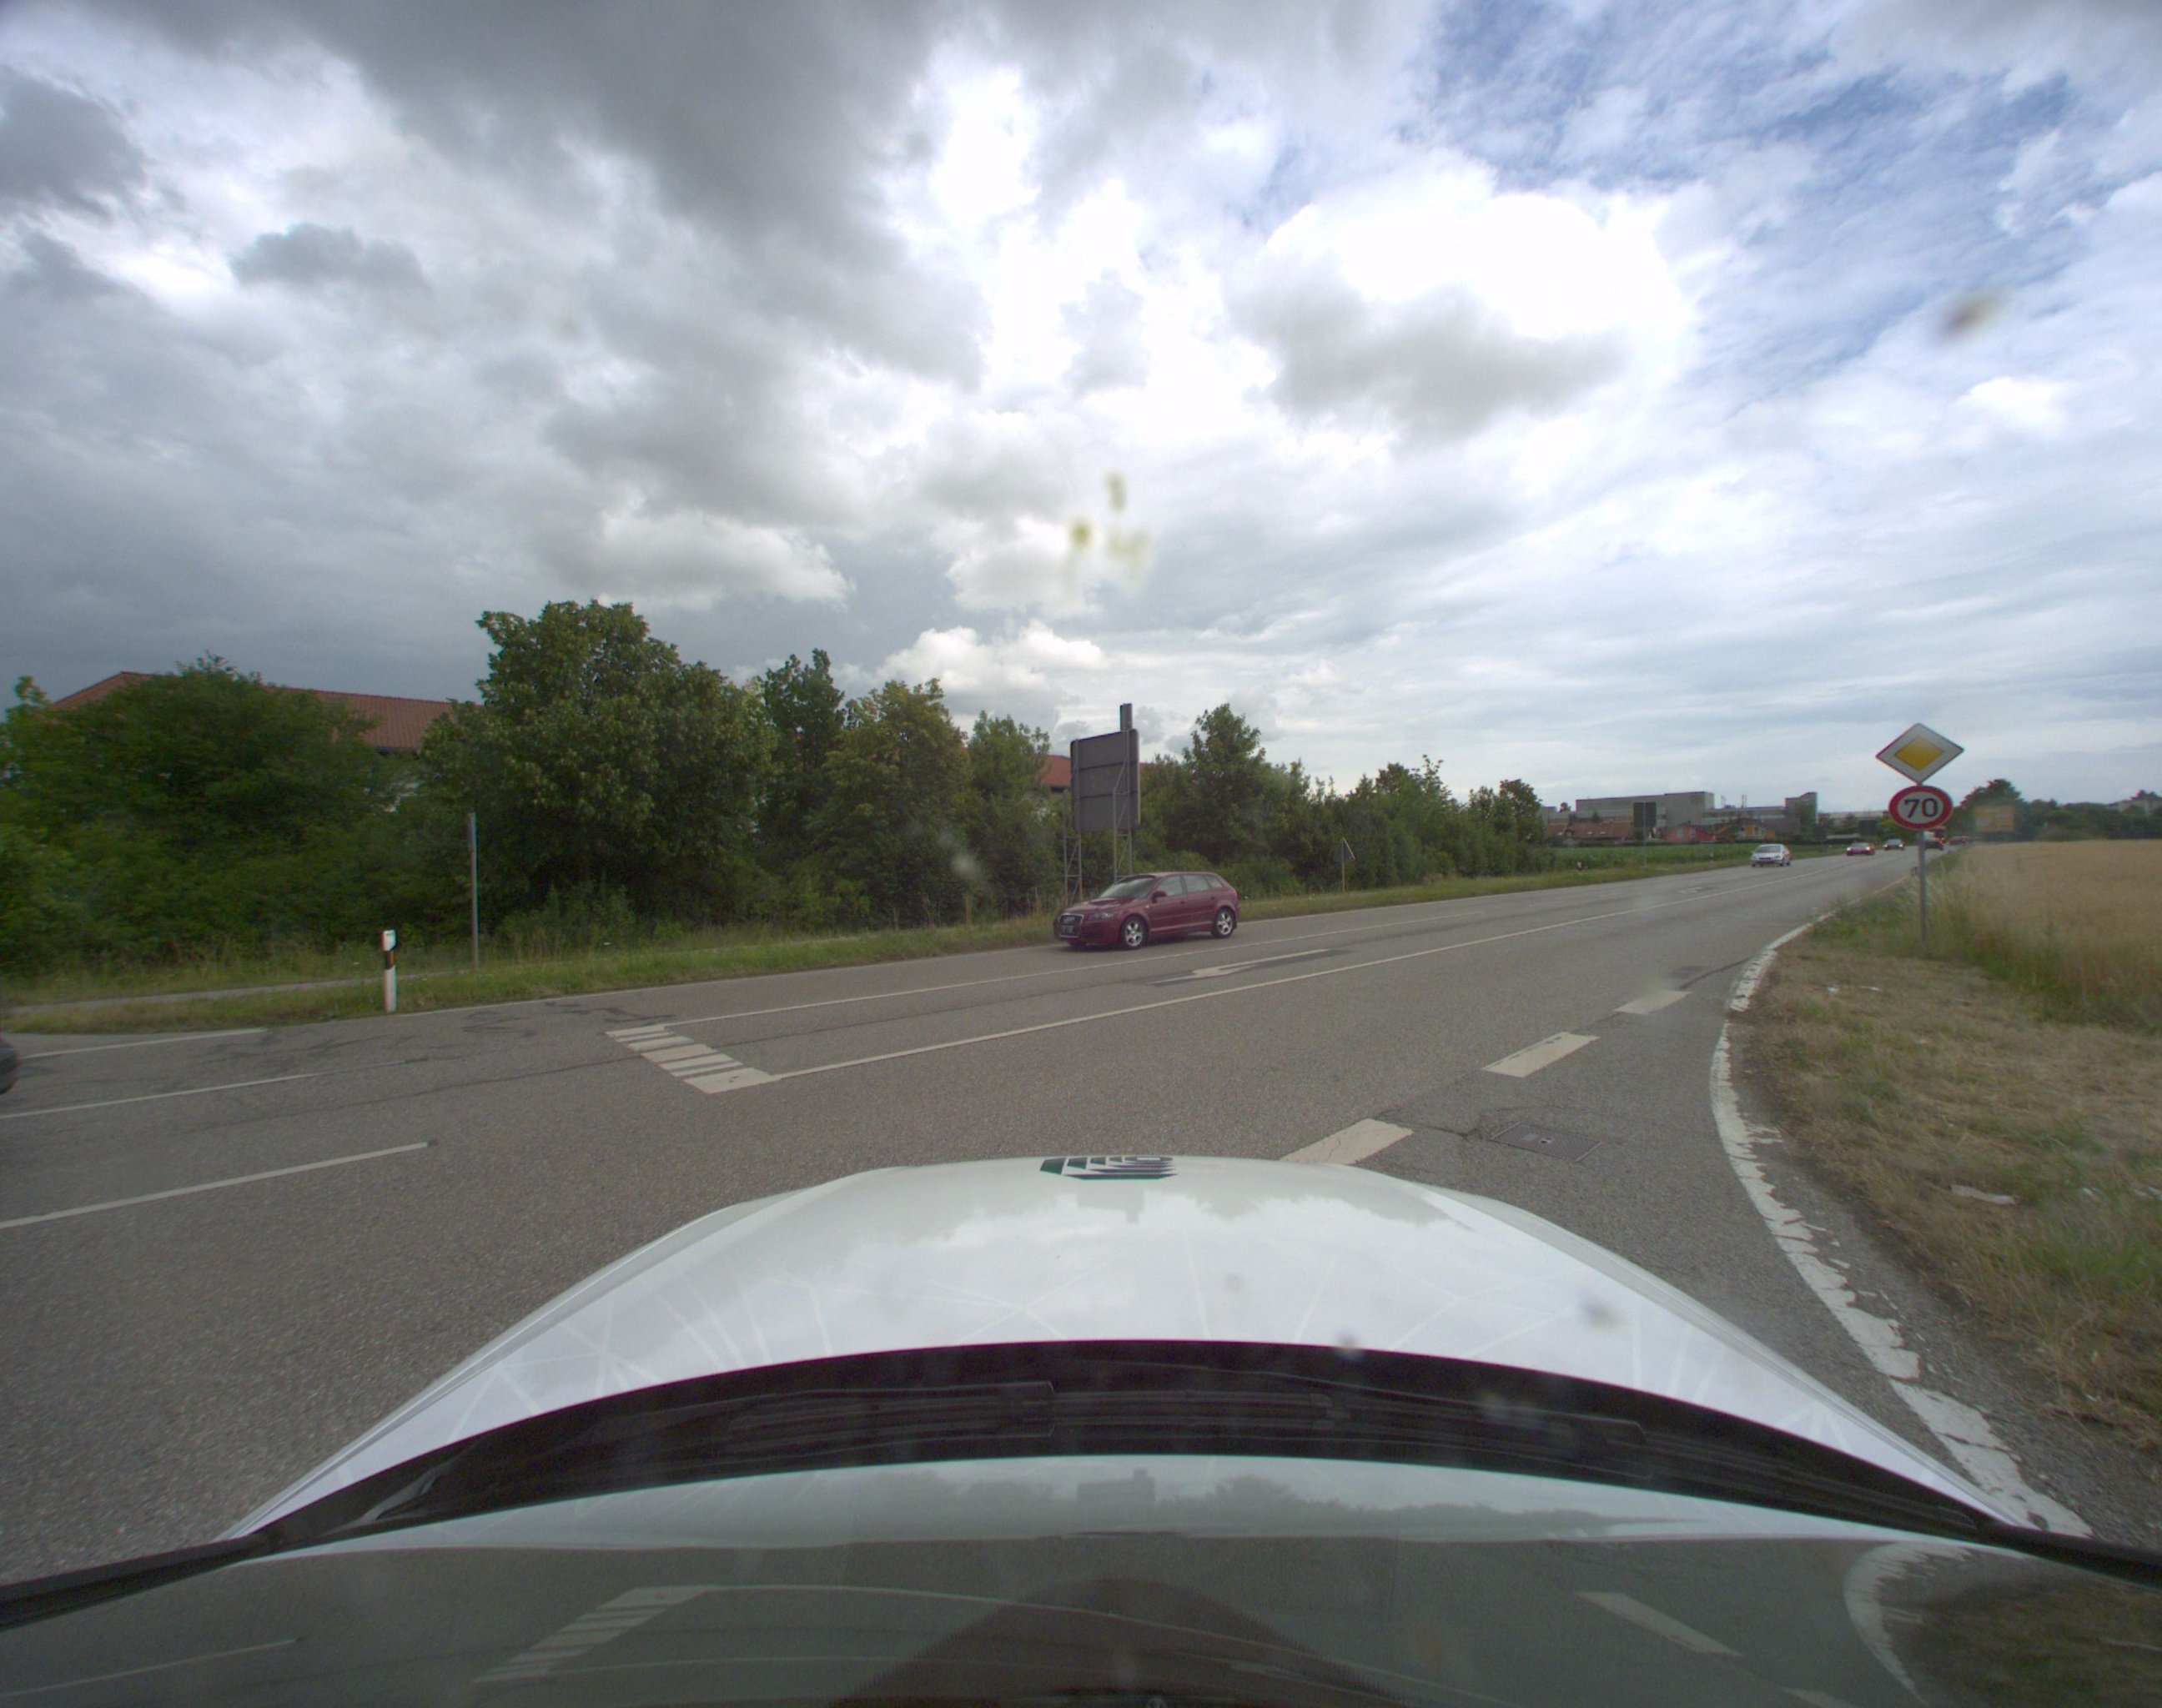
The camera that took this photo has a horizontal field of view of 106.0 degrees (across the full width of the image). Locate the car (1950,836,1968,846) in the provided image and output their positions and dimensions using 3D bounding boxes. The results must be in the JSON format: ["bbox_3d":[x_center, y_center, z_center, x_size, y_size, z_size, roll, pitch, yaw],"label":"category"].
[{"bbox_3d":[154.870,-2.243,143.684,4.020,1.728,1.843,-2,0,-39],"label":"car"}]

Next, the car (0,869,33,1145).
[{"bbox_3d":[-7.981,0.948,3.304,4.314,1.658,1.732,-1,-1,-42],"label":"car"}]

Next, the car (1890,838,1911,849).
[{"bbox_3d":[108.518,-1.384,107.773,4.326,1.429,1.654,-1,-2,-42],"label":"car"}]

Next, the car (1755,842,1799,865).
[{"bbox_3d":[47.287,-0.071,55.296,3.956,1.431,1.714,-1,-2,-42],"label":"car"}]

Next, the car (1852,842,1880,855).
[{"bbox_3d":[80.013,-0.576,83.016,4.235,1.241,1.755,-1,-1,-43],"label":"car"}]

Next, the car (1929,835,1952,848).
[{"bbox_3d":[107.279,-1.583,101.663,4.022,1.566,1.842,-2,0,-42],"label":"car"}]

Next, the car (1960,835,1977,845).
[{"bbox_3d":[169.245,-2.682,155.283,4.020,1.728,1.843,-2,0,-39],"label":"car"}]

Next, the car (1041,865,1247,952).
[{"bbox_3d":[1.348,1.010,16.309,4.111,1.402,1.658,-2,-1,-41],"label":"car"}]
